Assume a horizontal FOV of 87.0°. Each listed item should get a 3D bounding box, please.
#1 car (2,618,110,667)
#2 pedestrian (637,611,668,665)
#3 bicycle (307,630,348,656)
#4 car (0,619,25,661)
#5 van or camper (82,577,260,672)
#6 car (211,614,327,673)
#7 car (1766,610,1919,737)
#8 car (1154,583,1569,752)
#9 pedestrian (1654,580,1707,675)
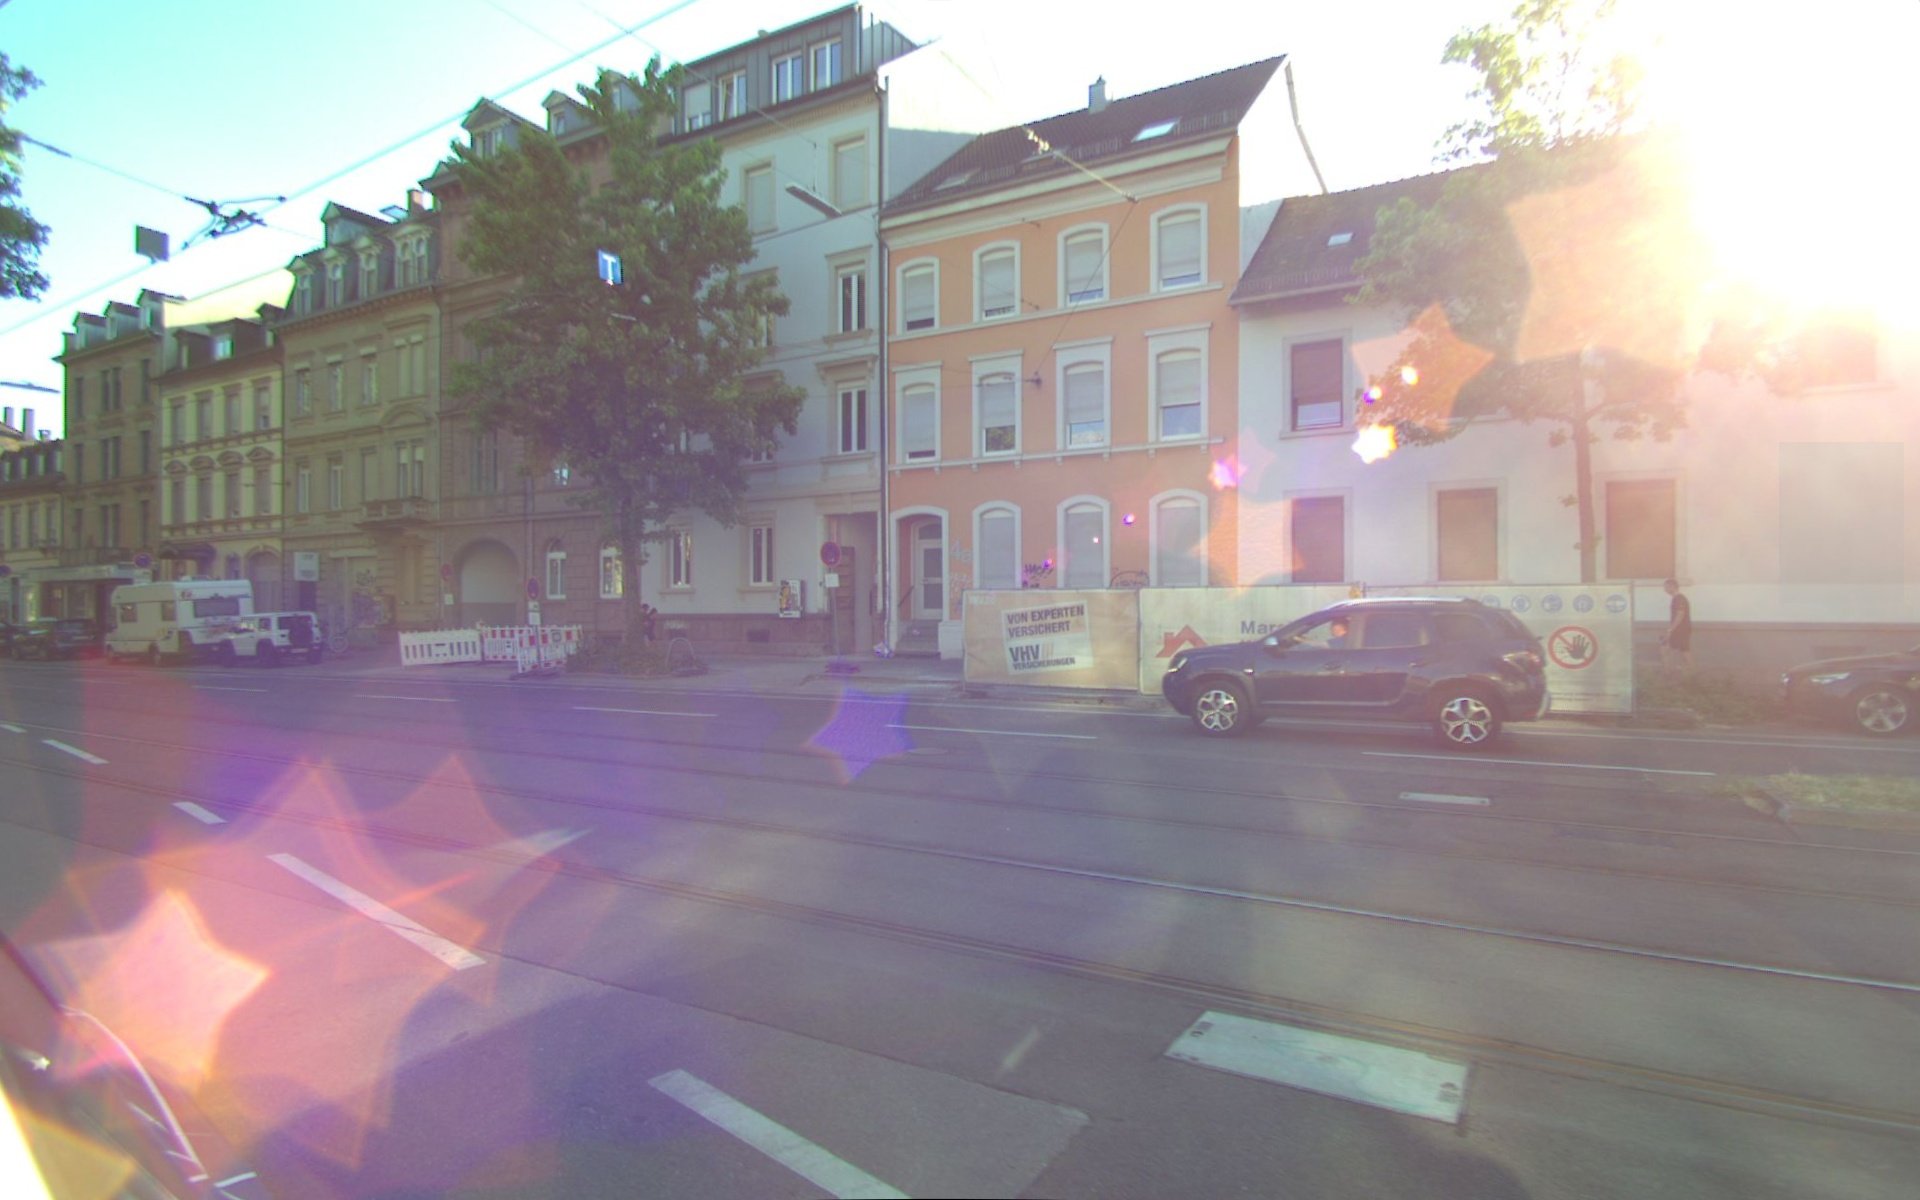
[{"bbox_3d":[-35.659,1.646,39.898,4.424,1.718,1.799,-1,2,29],"label":"car"},{"bbox_3d":[-8.635,1.065,28.423,0.605,1.472,0.572,-1,1,29],"label":"pedestrian"},{"bbox_3d":[-23.494,1.588,37.593,1.786,0.931,0.574,-1,-1,32],"label":"bicycle"},{"bbox_3d":[-42.593,1.745,43.587,4.730,1.715,1.981,-1,2,29],"label":"car"},{"bbox_3d":[-27.522,0.824,35.205,7.225,2.969,2.402,-1,2,32],"label":"van or camper"},{"bbox_3d":[-22.010,1.357,32.235,3.354,1.718,1.621,-1,2,27],"label":"car"},{"bbox_3d":[13.094,0.878,12.403,4.705,1.525,1.980,-1,-1,29],"label":"car"},{"bbox_3d":[4.707,0.725,12.126,4.290,1.702,1.981,-1,-1,29],"label":"car"},{"bbox_3d":[12.243,0.461,17.208,0.636,1.582,0.590,-1,-1,28],"label":"pedestrian"}]
